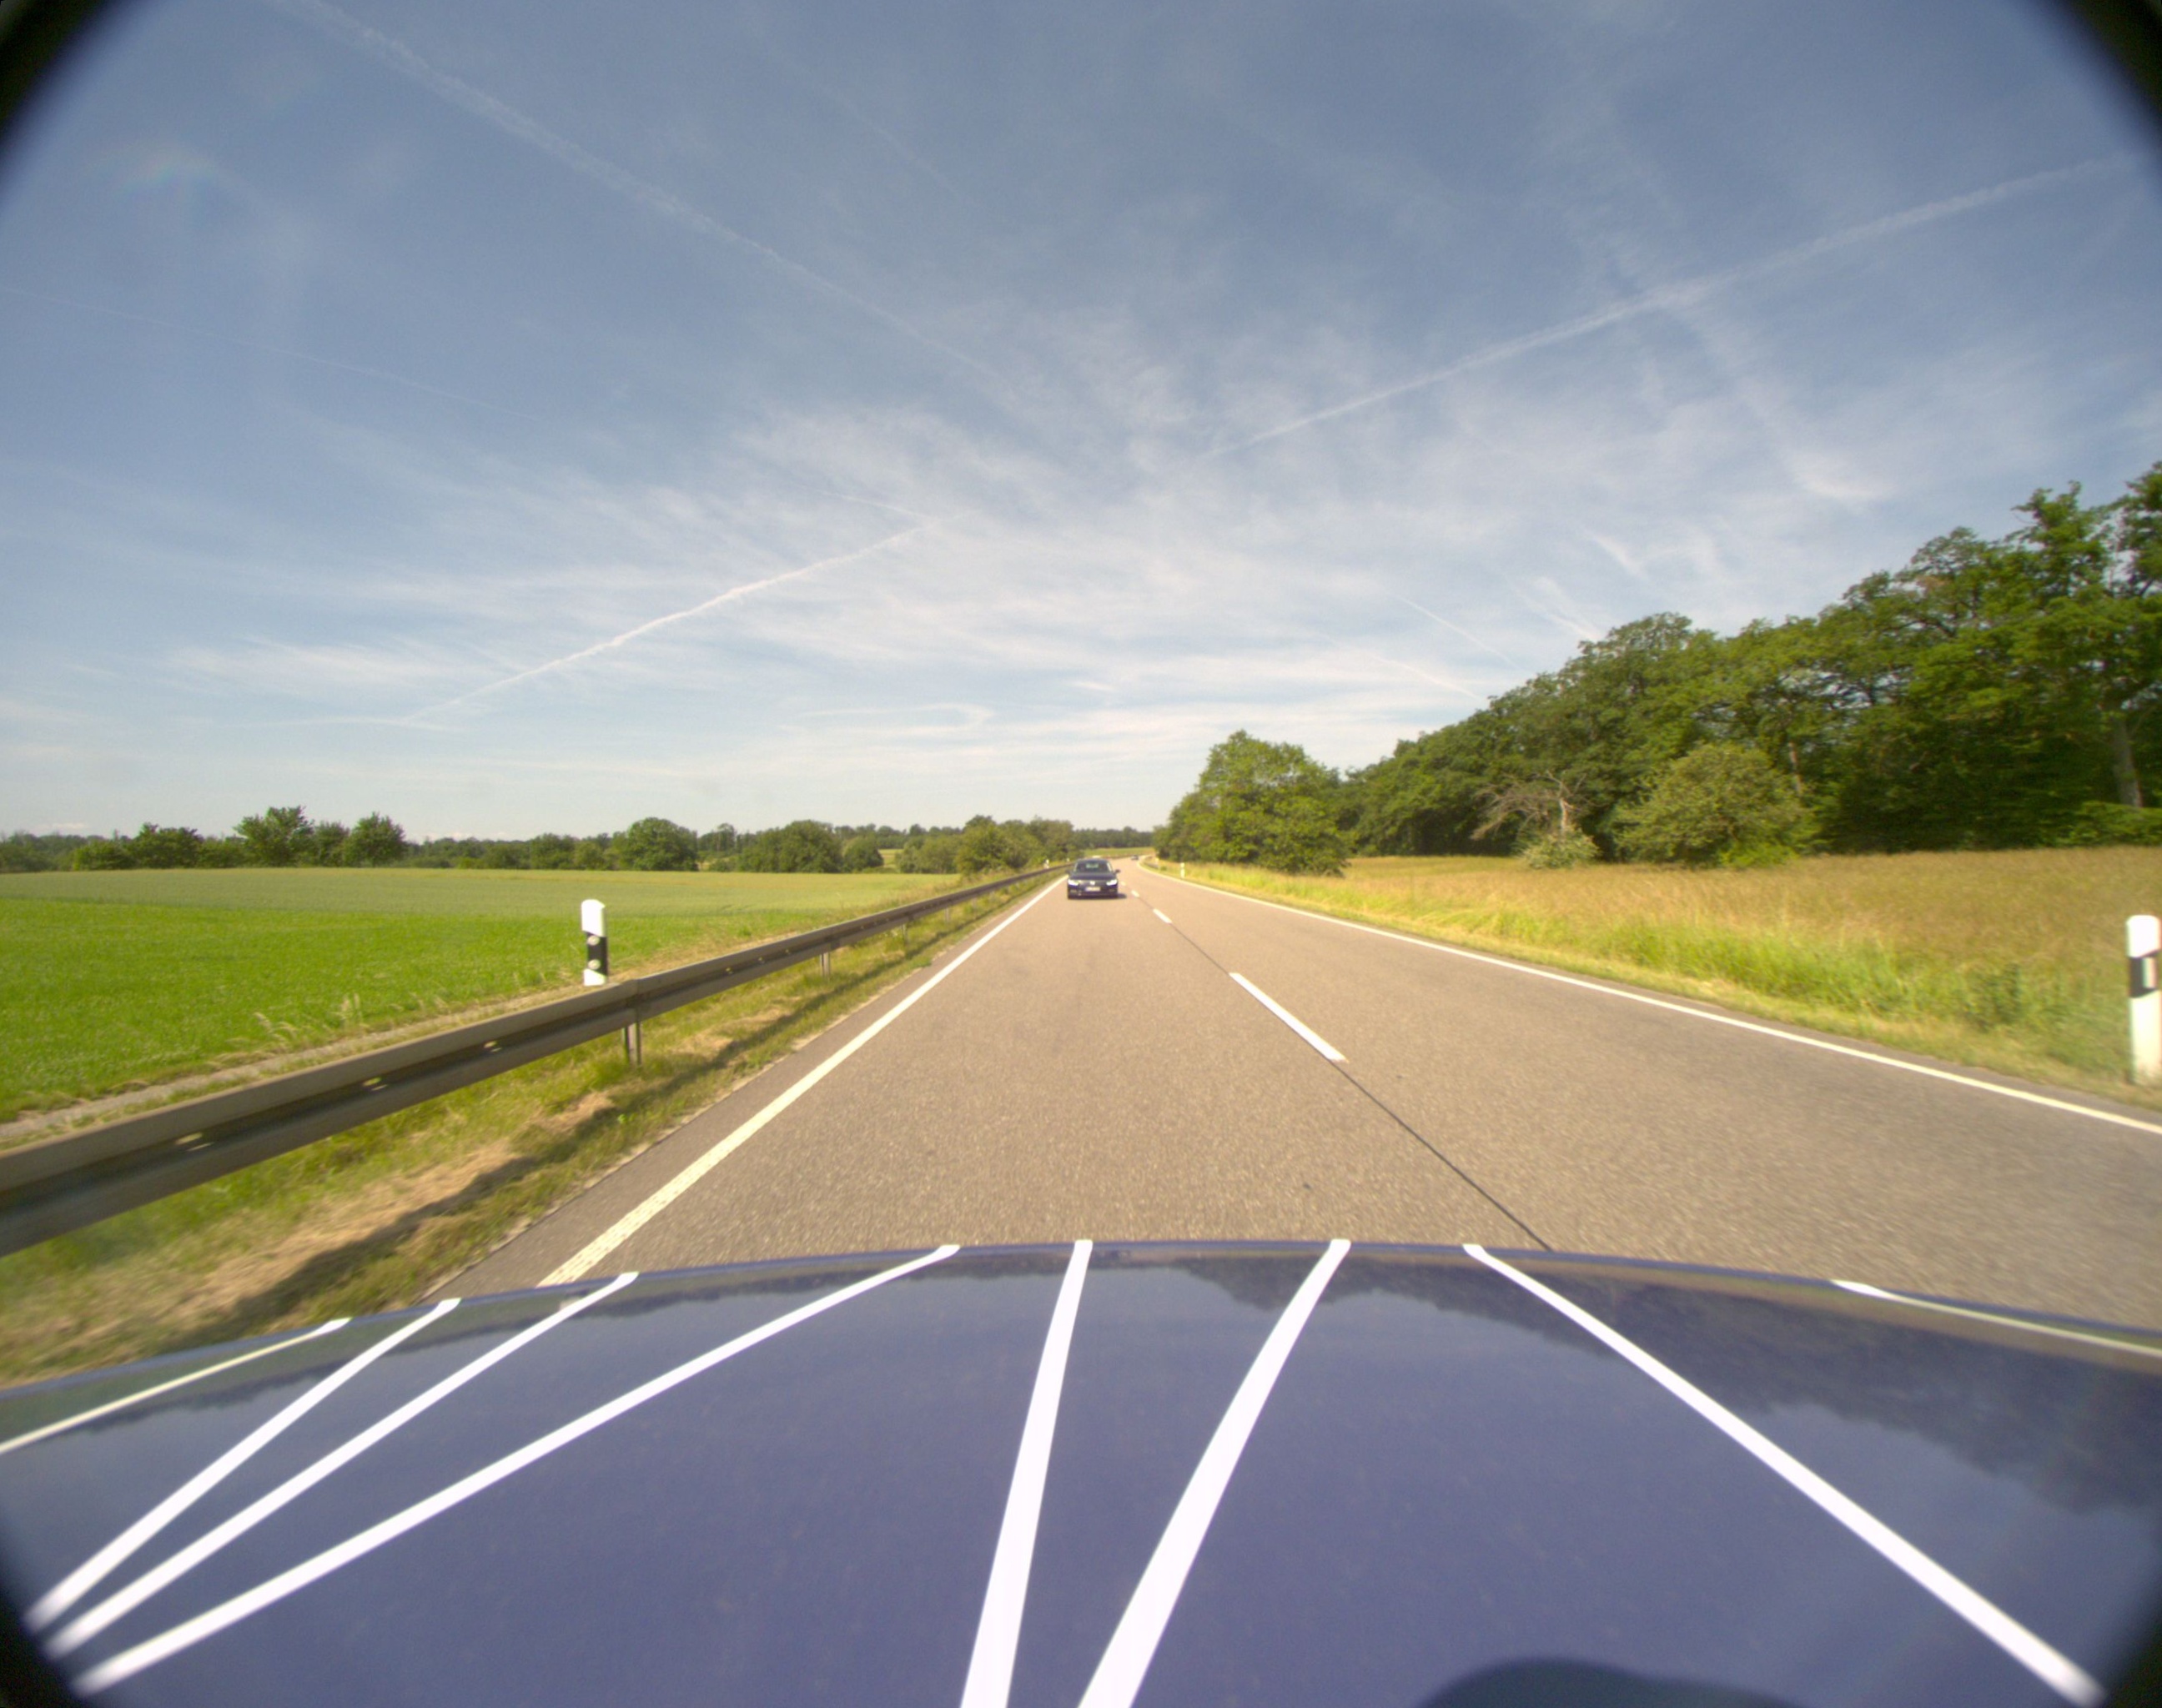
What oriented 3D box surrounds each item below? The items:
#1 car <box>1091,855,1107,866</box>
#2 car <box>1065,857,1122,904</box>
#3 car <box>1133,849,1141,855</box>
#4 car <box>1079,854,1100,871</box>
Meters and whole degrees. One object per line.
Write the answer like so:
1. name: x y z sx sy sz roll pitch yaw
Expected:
1. car: 2.473 0.902 105.614 1.928 1.501 4.291 -1 0 -2
2. car: 0.472 0.886 27.033 1.821 1.501 4.501 -1 0 2
3. car: 14.843 -0.527 201.662 1.748 1.506 4.055 0 0 7
4. car: 0.840 0.784 71.590 1.928 1.501 4.292 -1 0 2
